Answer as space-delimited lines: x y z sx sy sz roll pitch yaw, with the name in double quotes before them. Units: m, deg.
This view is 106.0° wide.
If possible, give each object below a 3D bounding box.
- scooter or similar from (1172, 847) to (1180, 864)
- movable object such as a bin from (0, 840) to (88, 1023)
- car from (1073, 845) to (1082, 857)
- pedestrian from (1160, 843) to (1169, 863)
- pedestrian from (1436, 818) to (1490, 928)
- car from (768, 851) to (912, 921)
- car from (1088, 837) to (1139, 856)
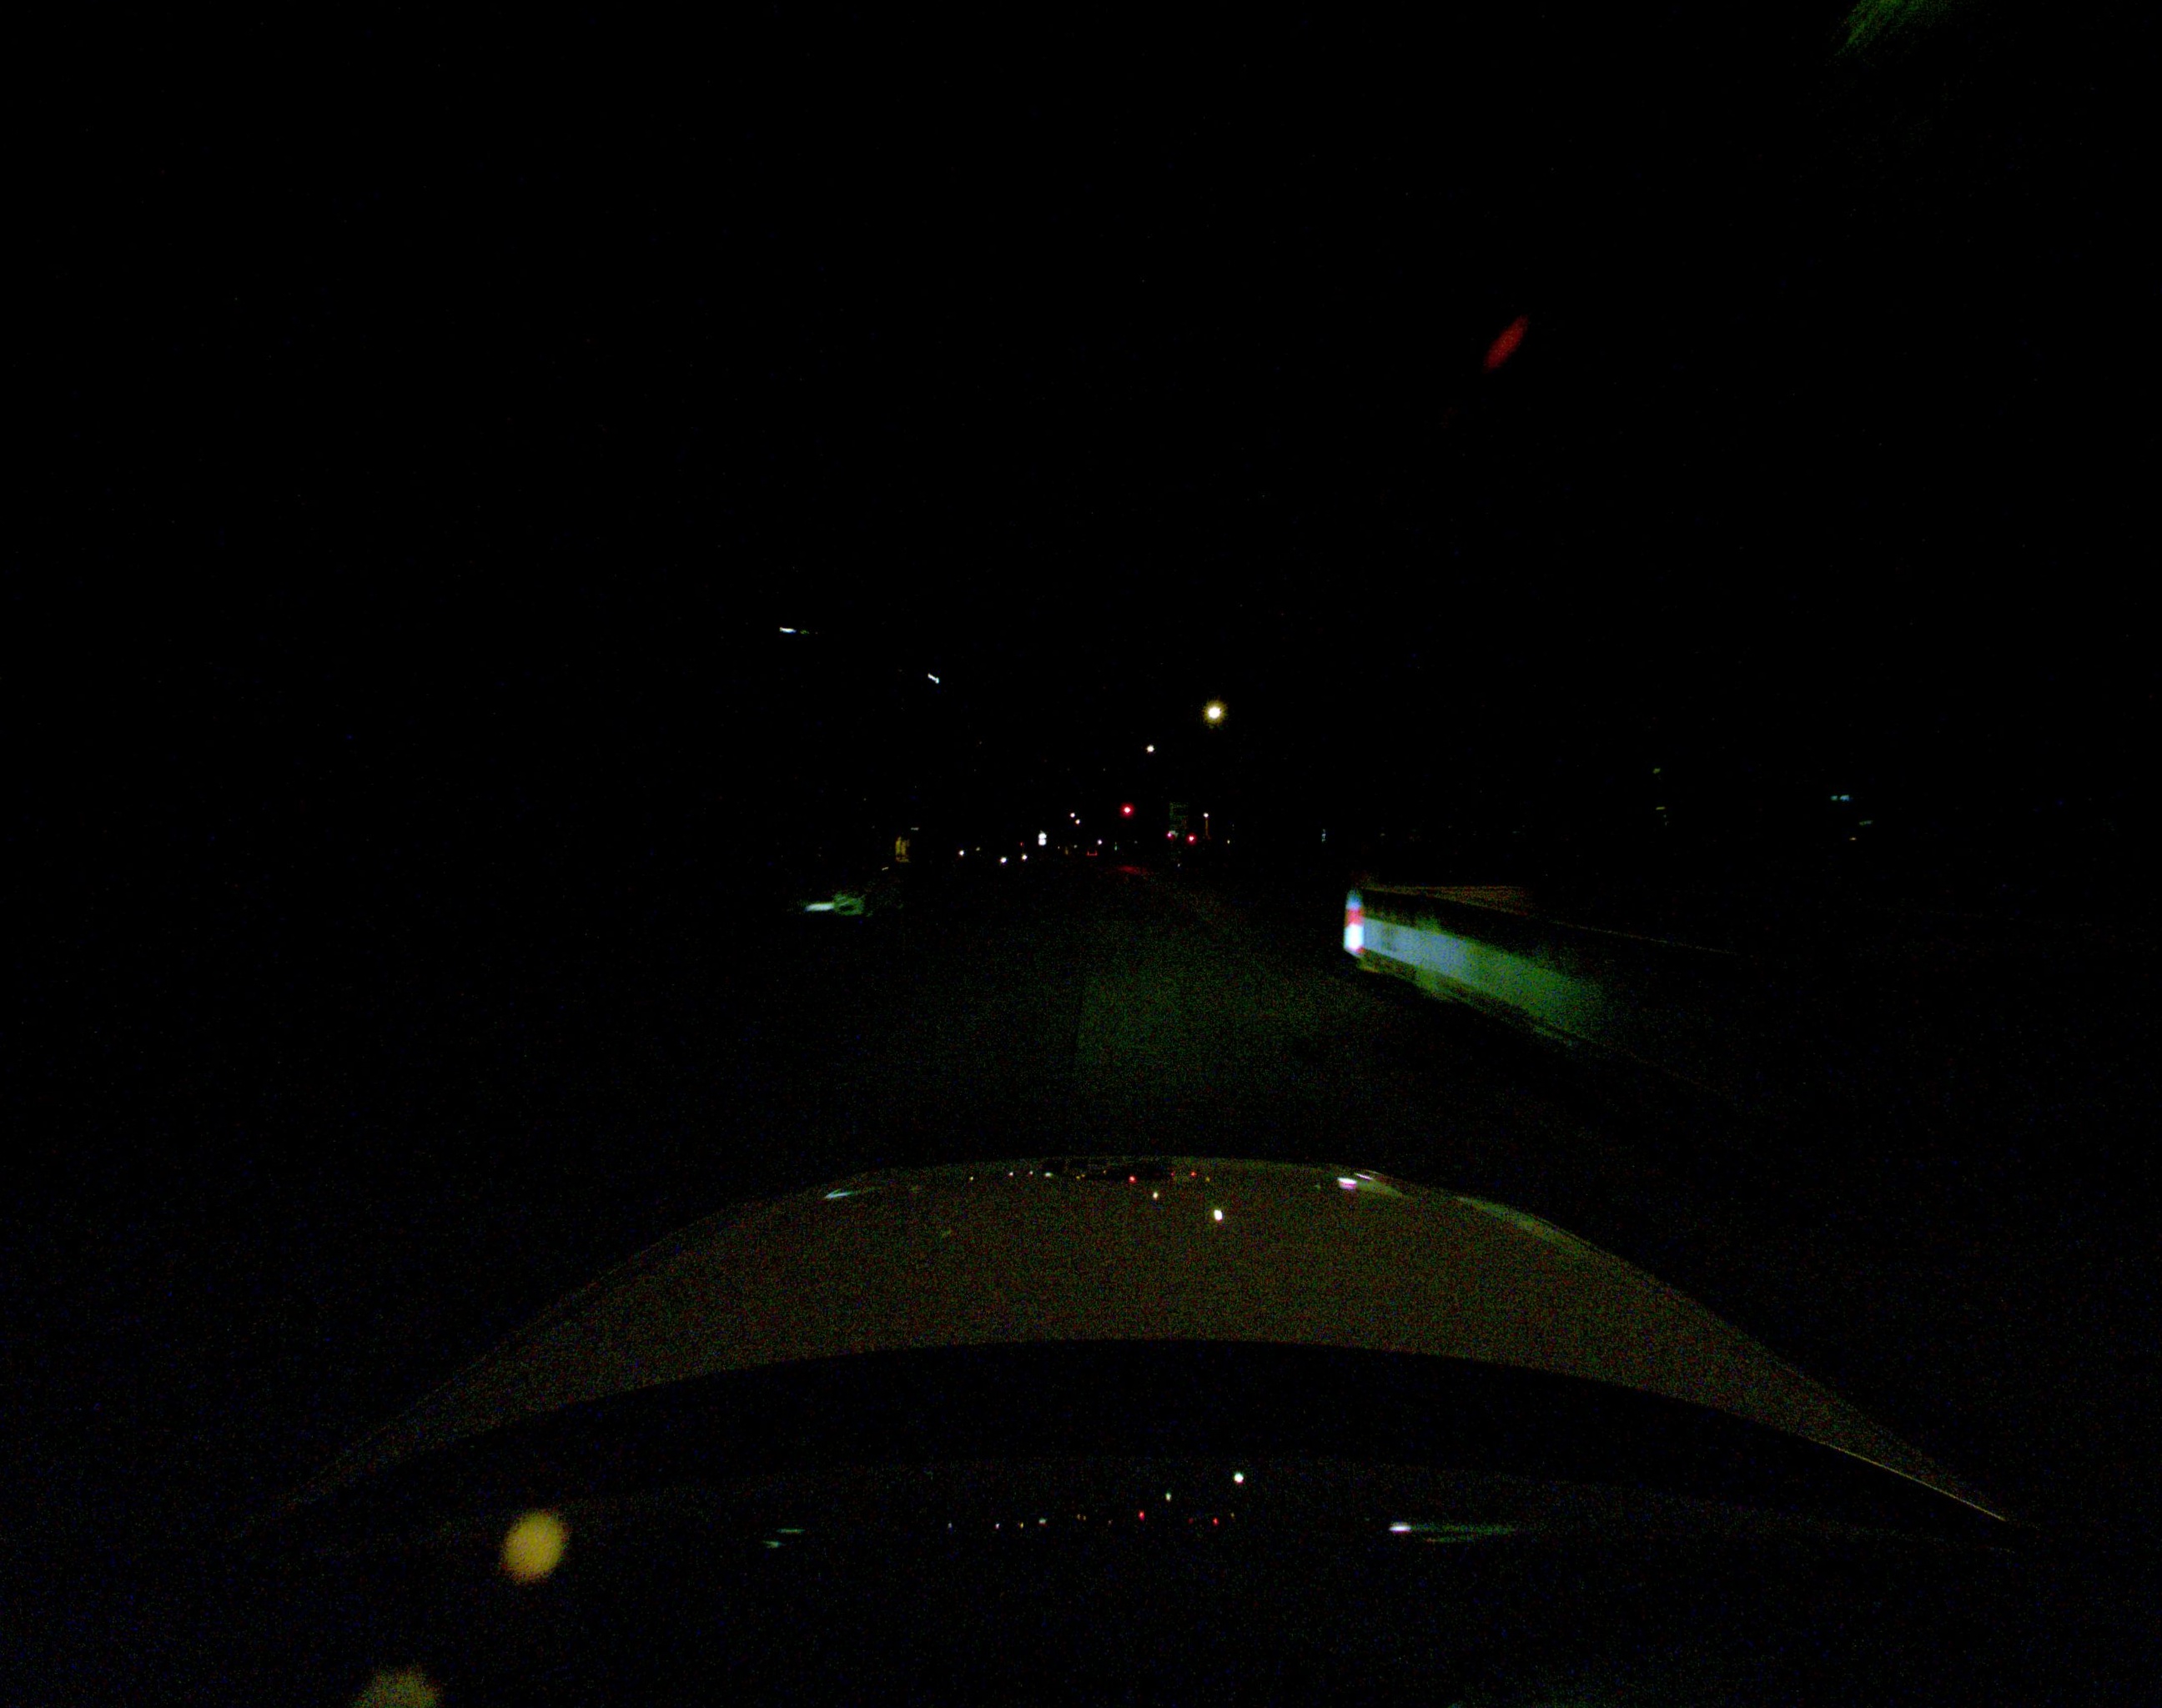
"scooter or similar" 7.427 0.114 63.839 0.492 1.262 1.321 -3 0 4
"movable object such as a bin" -9.404 0.638 6.678 1.161 1.495 1.065 -1 0 -1
"car" -0.957 -0.776 201.549 1.989 2.974 3.995 -1 0 -3
"pedestrian" 8.194 -0.124 79.798 0.738 1.981 0.622 -1 0 -15
"pedestrian" 6.620 0.319 14.154 0.568 1.852 0.820 -1 0 2
"car" -5.485 0.656 19.191 1.903 1.404 4.341 -1 0 3
"car" 8.501 -1.948 213.895 12.394 4.709 4.790 -1 0 -13
